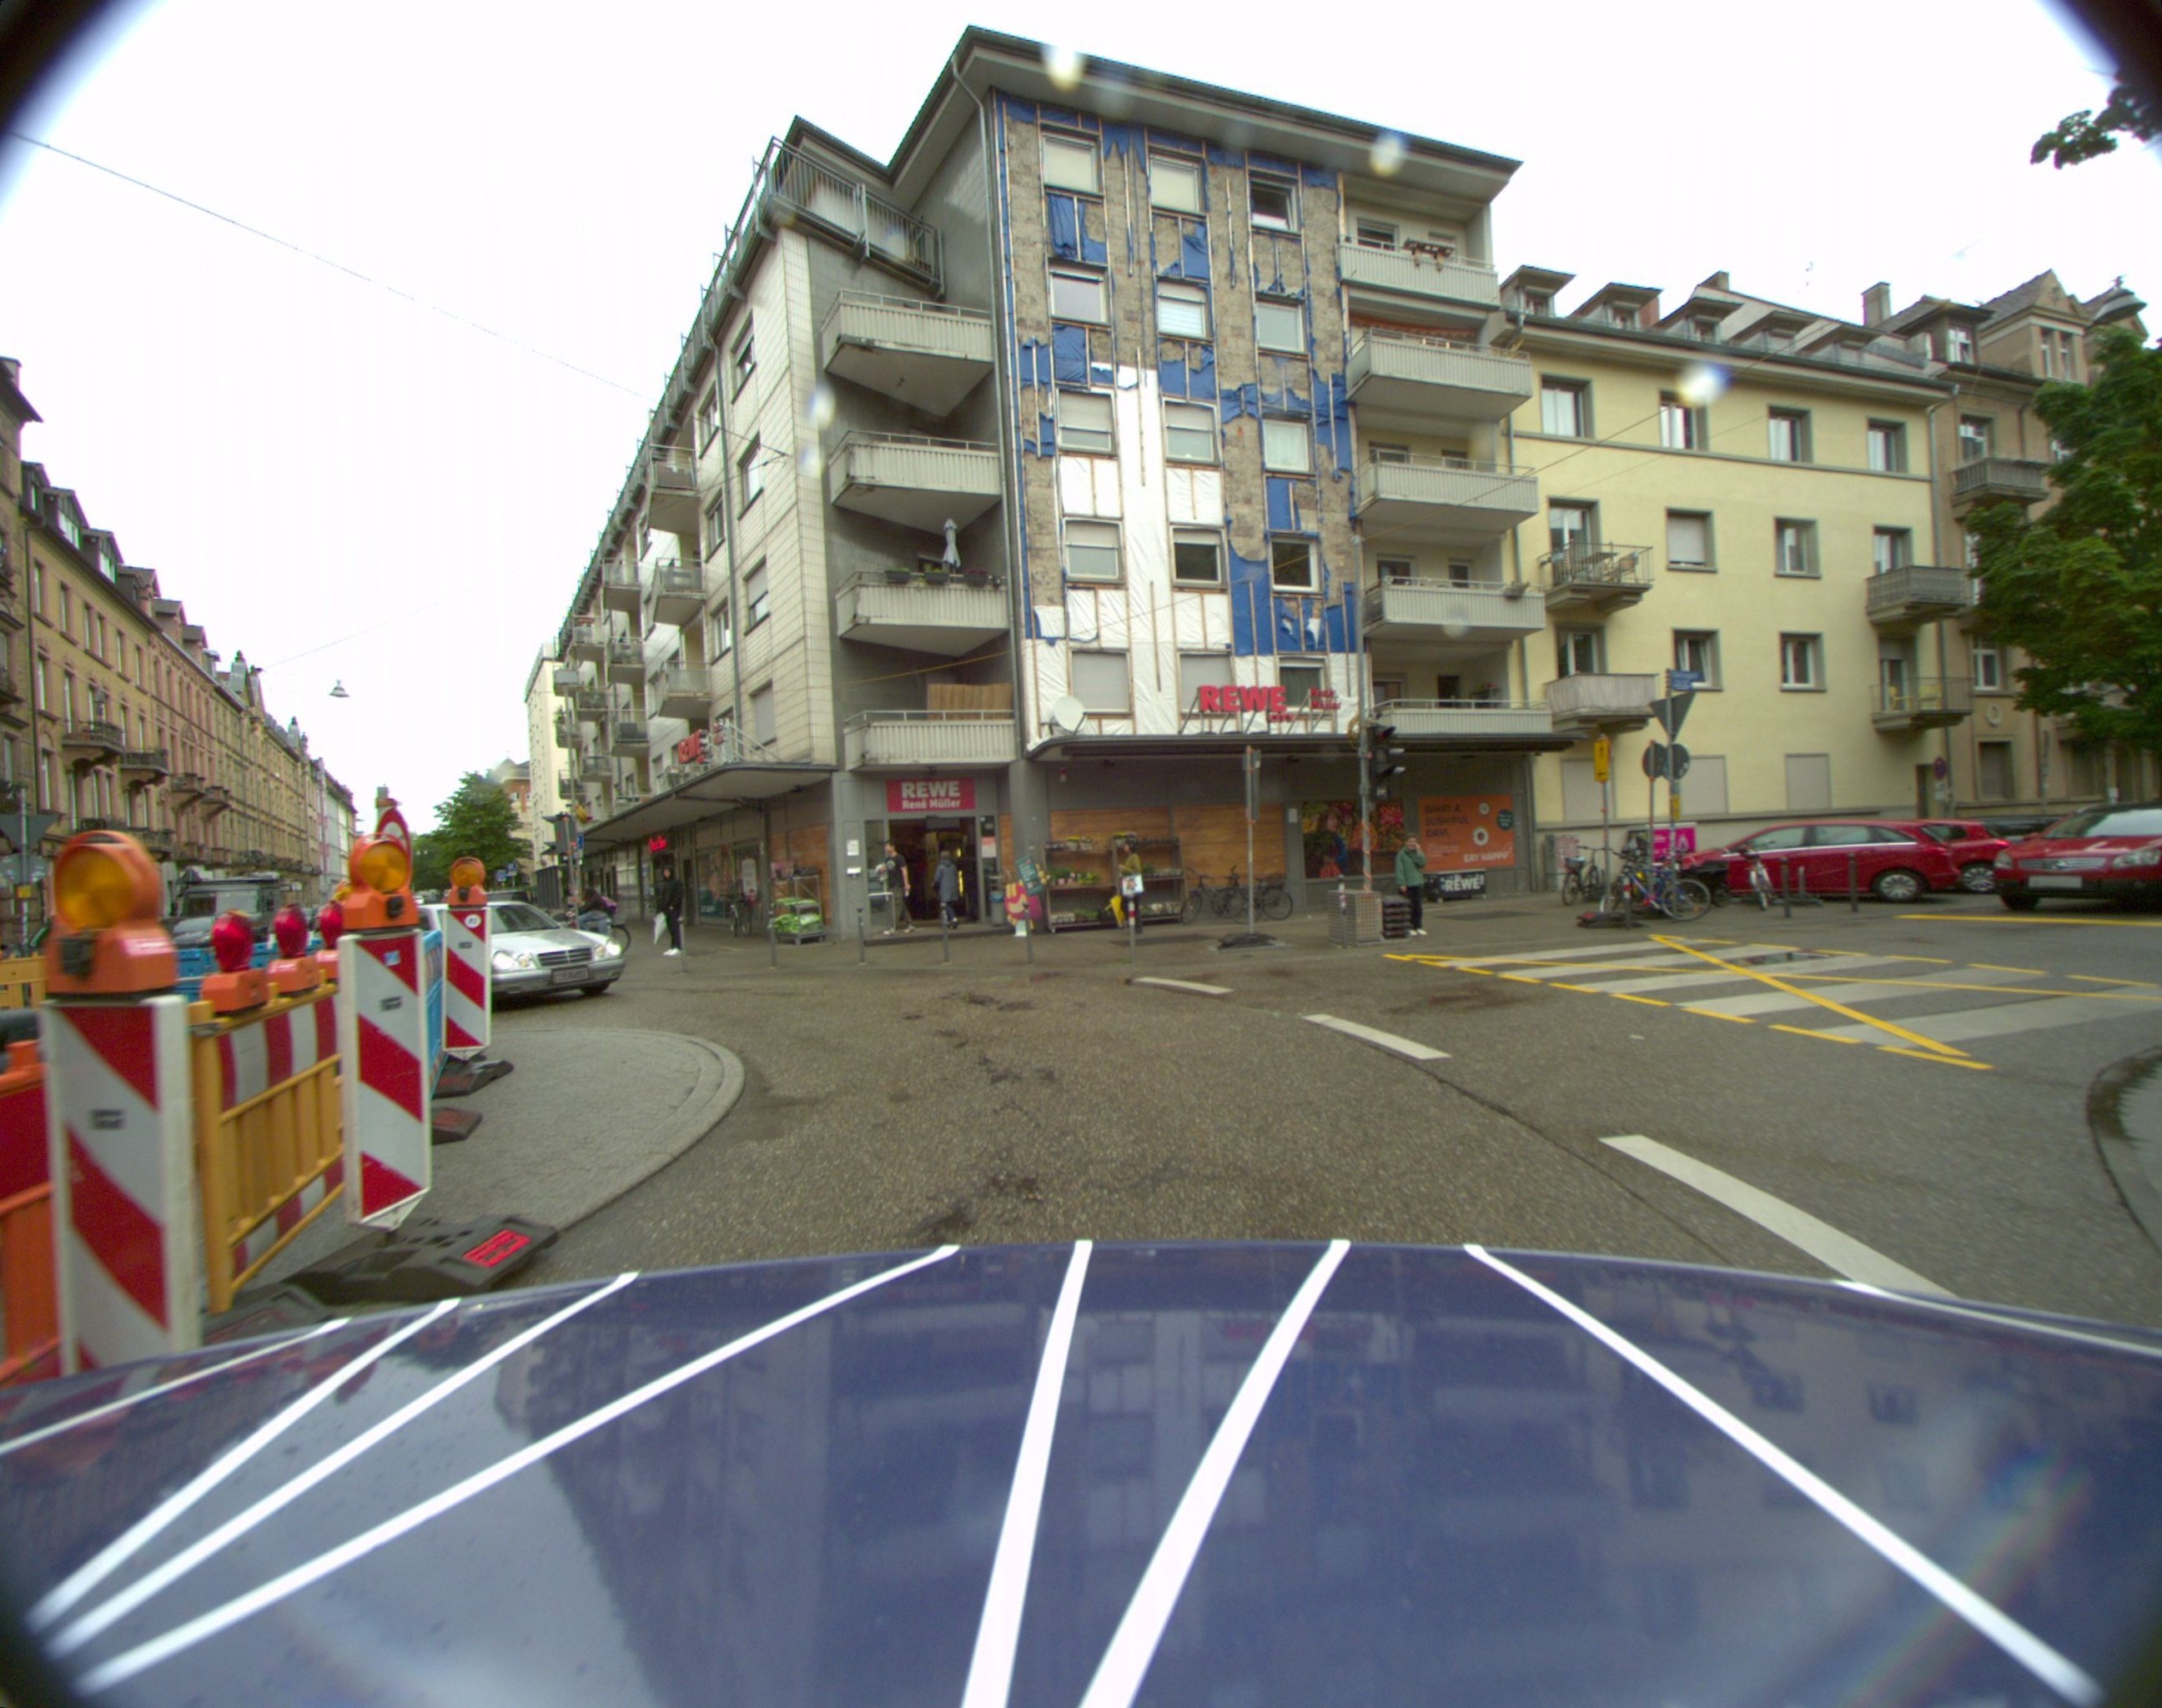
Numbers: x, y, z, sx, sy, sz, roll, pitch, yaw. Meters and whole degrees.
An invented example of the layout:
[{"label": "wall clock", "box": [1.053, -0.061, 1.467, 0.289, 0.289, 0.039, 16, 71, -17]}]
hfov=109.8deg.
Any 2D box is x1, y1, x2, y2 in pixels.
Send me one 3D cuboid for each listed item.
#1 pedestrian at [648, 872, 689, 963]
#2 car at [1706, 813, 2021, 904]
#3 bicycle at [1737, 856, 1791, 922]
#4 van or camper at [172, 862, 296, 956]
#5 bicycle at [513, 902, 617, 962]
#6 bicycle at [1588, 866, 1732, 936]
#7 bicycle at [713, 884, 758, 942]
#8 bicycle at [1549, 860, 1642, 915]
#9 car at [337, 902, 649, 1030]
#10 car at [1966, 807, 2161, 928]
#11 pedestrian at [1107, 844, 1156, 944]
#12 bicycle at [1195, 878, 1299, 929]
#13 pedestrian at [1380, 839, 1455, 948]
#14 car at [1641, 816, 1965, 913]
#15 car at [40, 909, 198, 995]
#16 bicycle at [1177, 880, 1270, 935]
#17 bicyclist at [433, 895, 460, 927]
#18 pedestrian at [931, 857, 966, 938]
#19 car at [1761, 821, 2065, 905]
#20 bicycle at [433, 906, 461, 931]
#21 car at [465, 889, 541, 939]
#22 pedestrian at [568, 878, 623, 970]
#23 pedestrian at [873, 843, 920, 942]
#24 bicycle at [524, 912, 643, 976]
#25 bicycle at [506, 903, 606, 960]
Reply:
[{"label": "pedestrian", "box": [-8.688, 1.317, 15.998, 0.606, 1.837, 0.768, -4, 0, -32]}, {"label": "car", "box": [16.416, 0.146, 16.282, 4.447, 1.661, 2.004, -4, 0, 45]}, {"label": "bicycle", "box": [12.087, 0.585, 13.419, 2.005, 0.966, 0.588, -5, 3, -45]}, {"label": "van or camper", "box": [-34.350, 2.169, 31.070, 2.417, 3.307, 7.055, -4, 0, -41]}, {"label": "bicycle", "box": [-12.885, 1.932, 19.022, 2.026, 1.189, 0.549, -6, 2, -34]}, {"label": "bicycle", "box": [9.487, 0.732, 12.570, 0.589, 0.966, 1.999, -3, 2, -11]}, {"label": "bicycle", "box": [-8.779, 1.469, 19.254, 0.451, 1.366, 2.019, -7, 2, -38]}, {"label": "bicycle", "box": [10.545, 0.661, 15.557, 2.003, 0.966, 0.588, -4, 2, -24]}, {"label": "car", "box": [-8.709, 1.496, 11.136, 4.967, 1.390, 1.864, -3, 0, 31]}, {"label": "car", "box": [16.350, 0.125, 11.654, 4.389, 1.630, 1.841, -2, -1, -15]}, {"label": "pedestrian", "box": [0.921, 0.718, 14.036, 0.694, 1.755, 0.864, -4, 1, -5]}, {"label": "bicycle", "box": [3.387, 1.006, 15.492, 1.997, 0.965, 0.590, -2, 1, 15]}, {"label": "pedestrian", "box": [5.212, 0.597, 11.781, 0.799, 1.606, 0.604, -4, 1, -5]}, {"label": "car", "box": [14.219, 0.251, 15.284, 4.447, 1.670, 2.004, -4, 0, 45]}, {"label": "car", "box": [-24.253, 2.374, 19.331, 1.906, 1.779, 3.990, -3, 0, -44]}, {"label": "bicycle", "box": [2.788, 1.036, 14.840, 1.688, 0.965, 0.569, -4, 0, 15]}, {"label": "bicyclist", "box": [-33.487, 2.993, 40.085, 0.995, 1.591, 1.259, -4, 0, -41]}, {"label": "pedestrian", "box": [-2.667, 0.859, 15.322, 0.545, 1.575, 0.693, -3, 1, -5]}, {"label": "car", "box": [18.641, 0.260, 17.371, 4.447, 1.661, 2.004, -4, 0, 45]}, {"label": "bicycle", "box": [-33.462, 3.394, 40.085, 0.995, 1.149, 2.869, -3, 0, -41]}, {"label": "car", "box": [-23.576, 2.408, 30.939, 1.906, 1.779, 3.990, -3, 0, -44]}, {"label": "pedestrian", "box": [-10.324, 1.457, 16.190, 0.864, 1.837, 0.768, -4, 0, -32]}, {"label": "pedestrian", "box": [-3.670, 0.745, 15.155, 0.719, 1.886, 0.604, -4, 1, -5]}, {"label": "bicycle", "box": [-10.417, 1.857, 15.984, 0.660, 1.028, 1.898, -4, 1, 36]}, {"label": "bicycle", "box": [-13.799, 2.007, 20.045, 2.036, 1.189, 0.549, -6, 2, -34]}]
